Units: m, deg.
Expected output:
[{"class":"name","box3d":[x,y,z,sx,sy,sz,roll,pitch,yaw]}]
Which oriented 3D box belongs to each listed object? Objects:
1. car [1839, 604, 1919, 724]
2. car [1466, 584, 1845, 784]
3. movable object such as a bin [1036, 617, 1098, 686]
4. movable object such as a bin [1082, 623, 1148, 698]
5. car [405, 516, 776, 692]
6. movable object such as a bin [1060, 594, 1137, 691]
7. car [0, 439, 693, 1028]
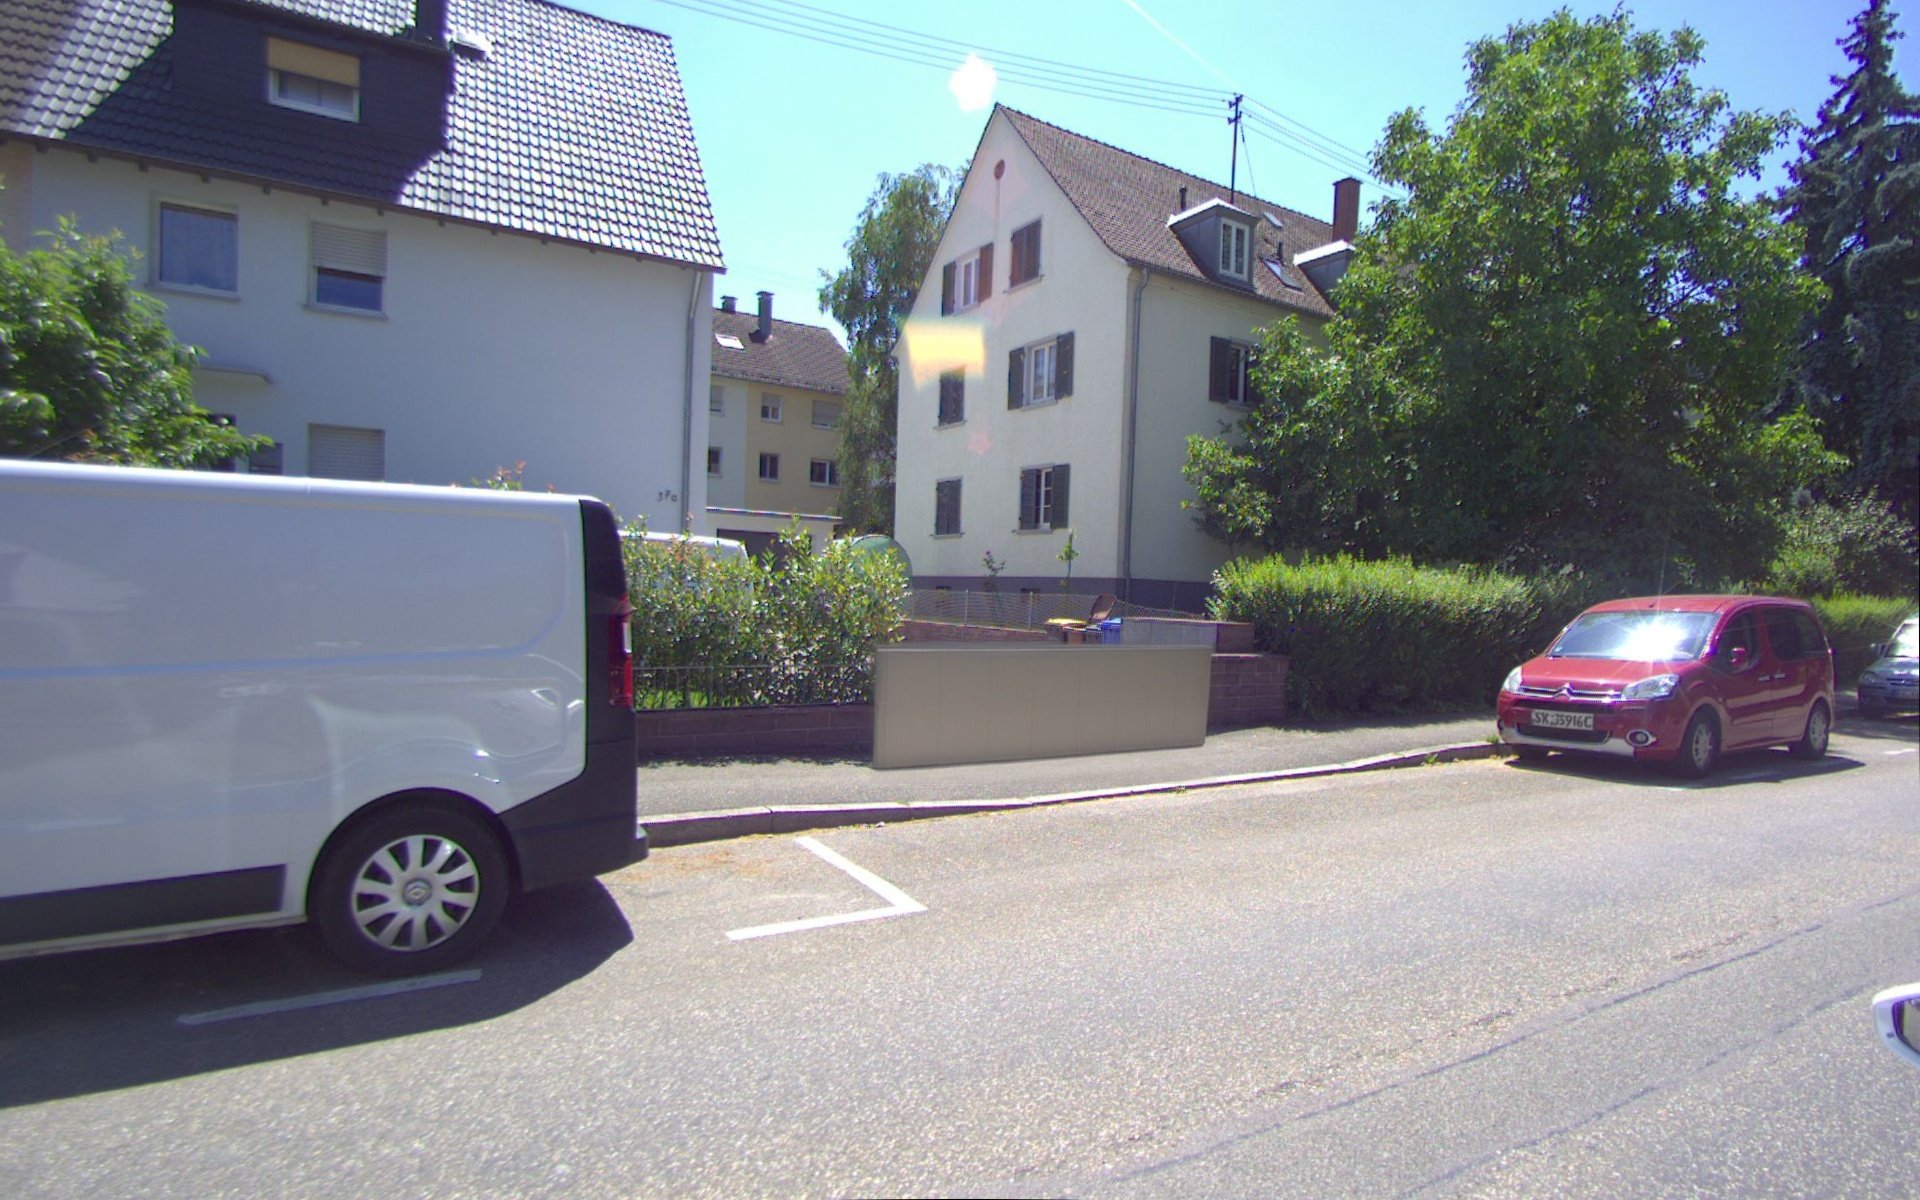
[{"class":"car","box3d":[16.025,0.999,16.127,4.304,1.775,1.640,1,-1,-31]},{"class":"car","box3d":[7.523,0.790,10.747,4.408,1.750,1.748,1,-1,-32]},{"class":"movable object such as a bin","box3d":[1.604,0.765,15.080,0.668,0.959,0.600,1,3,-30]},{"class":"movable object such as a bin","box3d":[2.147,0.834,13.954,0.632,0.959,0.600,1,3,-30]},{"class":"car","box3d":[-4.416,0.079,12.334,3.942,1.895,1.711,2,2,-22]},{"class":"movable object such as a bin","box3d":[2.005,0.606,14.571,0.847,1.340,0.600,1,3,-30]},{"class":"car","box3d":[-3.761,0.426,3.951,4.922,1.906,1.877,1,0,-30]}]
